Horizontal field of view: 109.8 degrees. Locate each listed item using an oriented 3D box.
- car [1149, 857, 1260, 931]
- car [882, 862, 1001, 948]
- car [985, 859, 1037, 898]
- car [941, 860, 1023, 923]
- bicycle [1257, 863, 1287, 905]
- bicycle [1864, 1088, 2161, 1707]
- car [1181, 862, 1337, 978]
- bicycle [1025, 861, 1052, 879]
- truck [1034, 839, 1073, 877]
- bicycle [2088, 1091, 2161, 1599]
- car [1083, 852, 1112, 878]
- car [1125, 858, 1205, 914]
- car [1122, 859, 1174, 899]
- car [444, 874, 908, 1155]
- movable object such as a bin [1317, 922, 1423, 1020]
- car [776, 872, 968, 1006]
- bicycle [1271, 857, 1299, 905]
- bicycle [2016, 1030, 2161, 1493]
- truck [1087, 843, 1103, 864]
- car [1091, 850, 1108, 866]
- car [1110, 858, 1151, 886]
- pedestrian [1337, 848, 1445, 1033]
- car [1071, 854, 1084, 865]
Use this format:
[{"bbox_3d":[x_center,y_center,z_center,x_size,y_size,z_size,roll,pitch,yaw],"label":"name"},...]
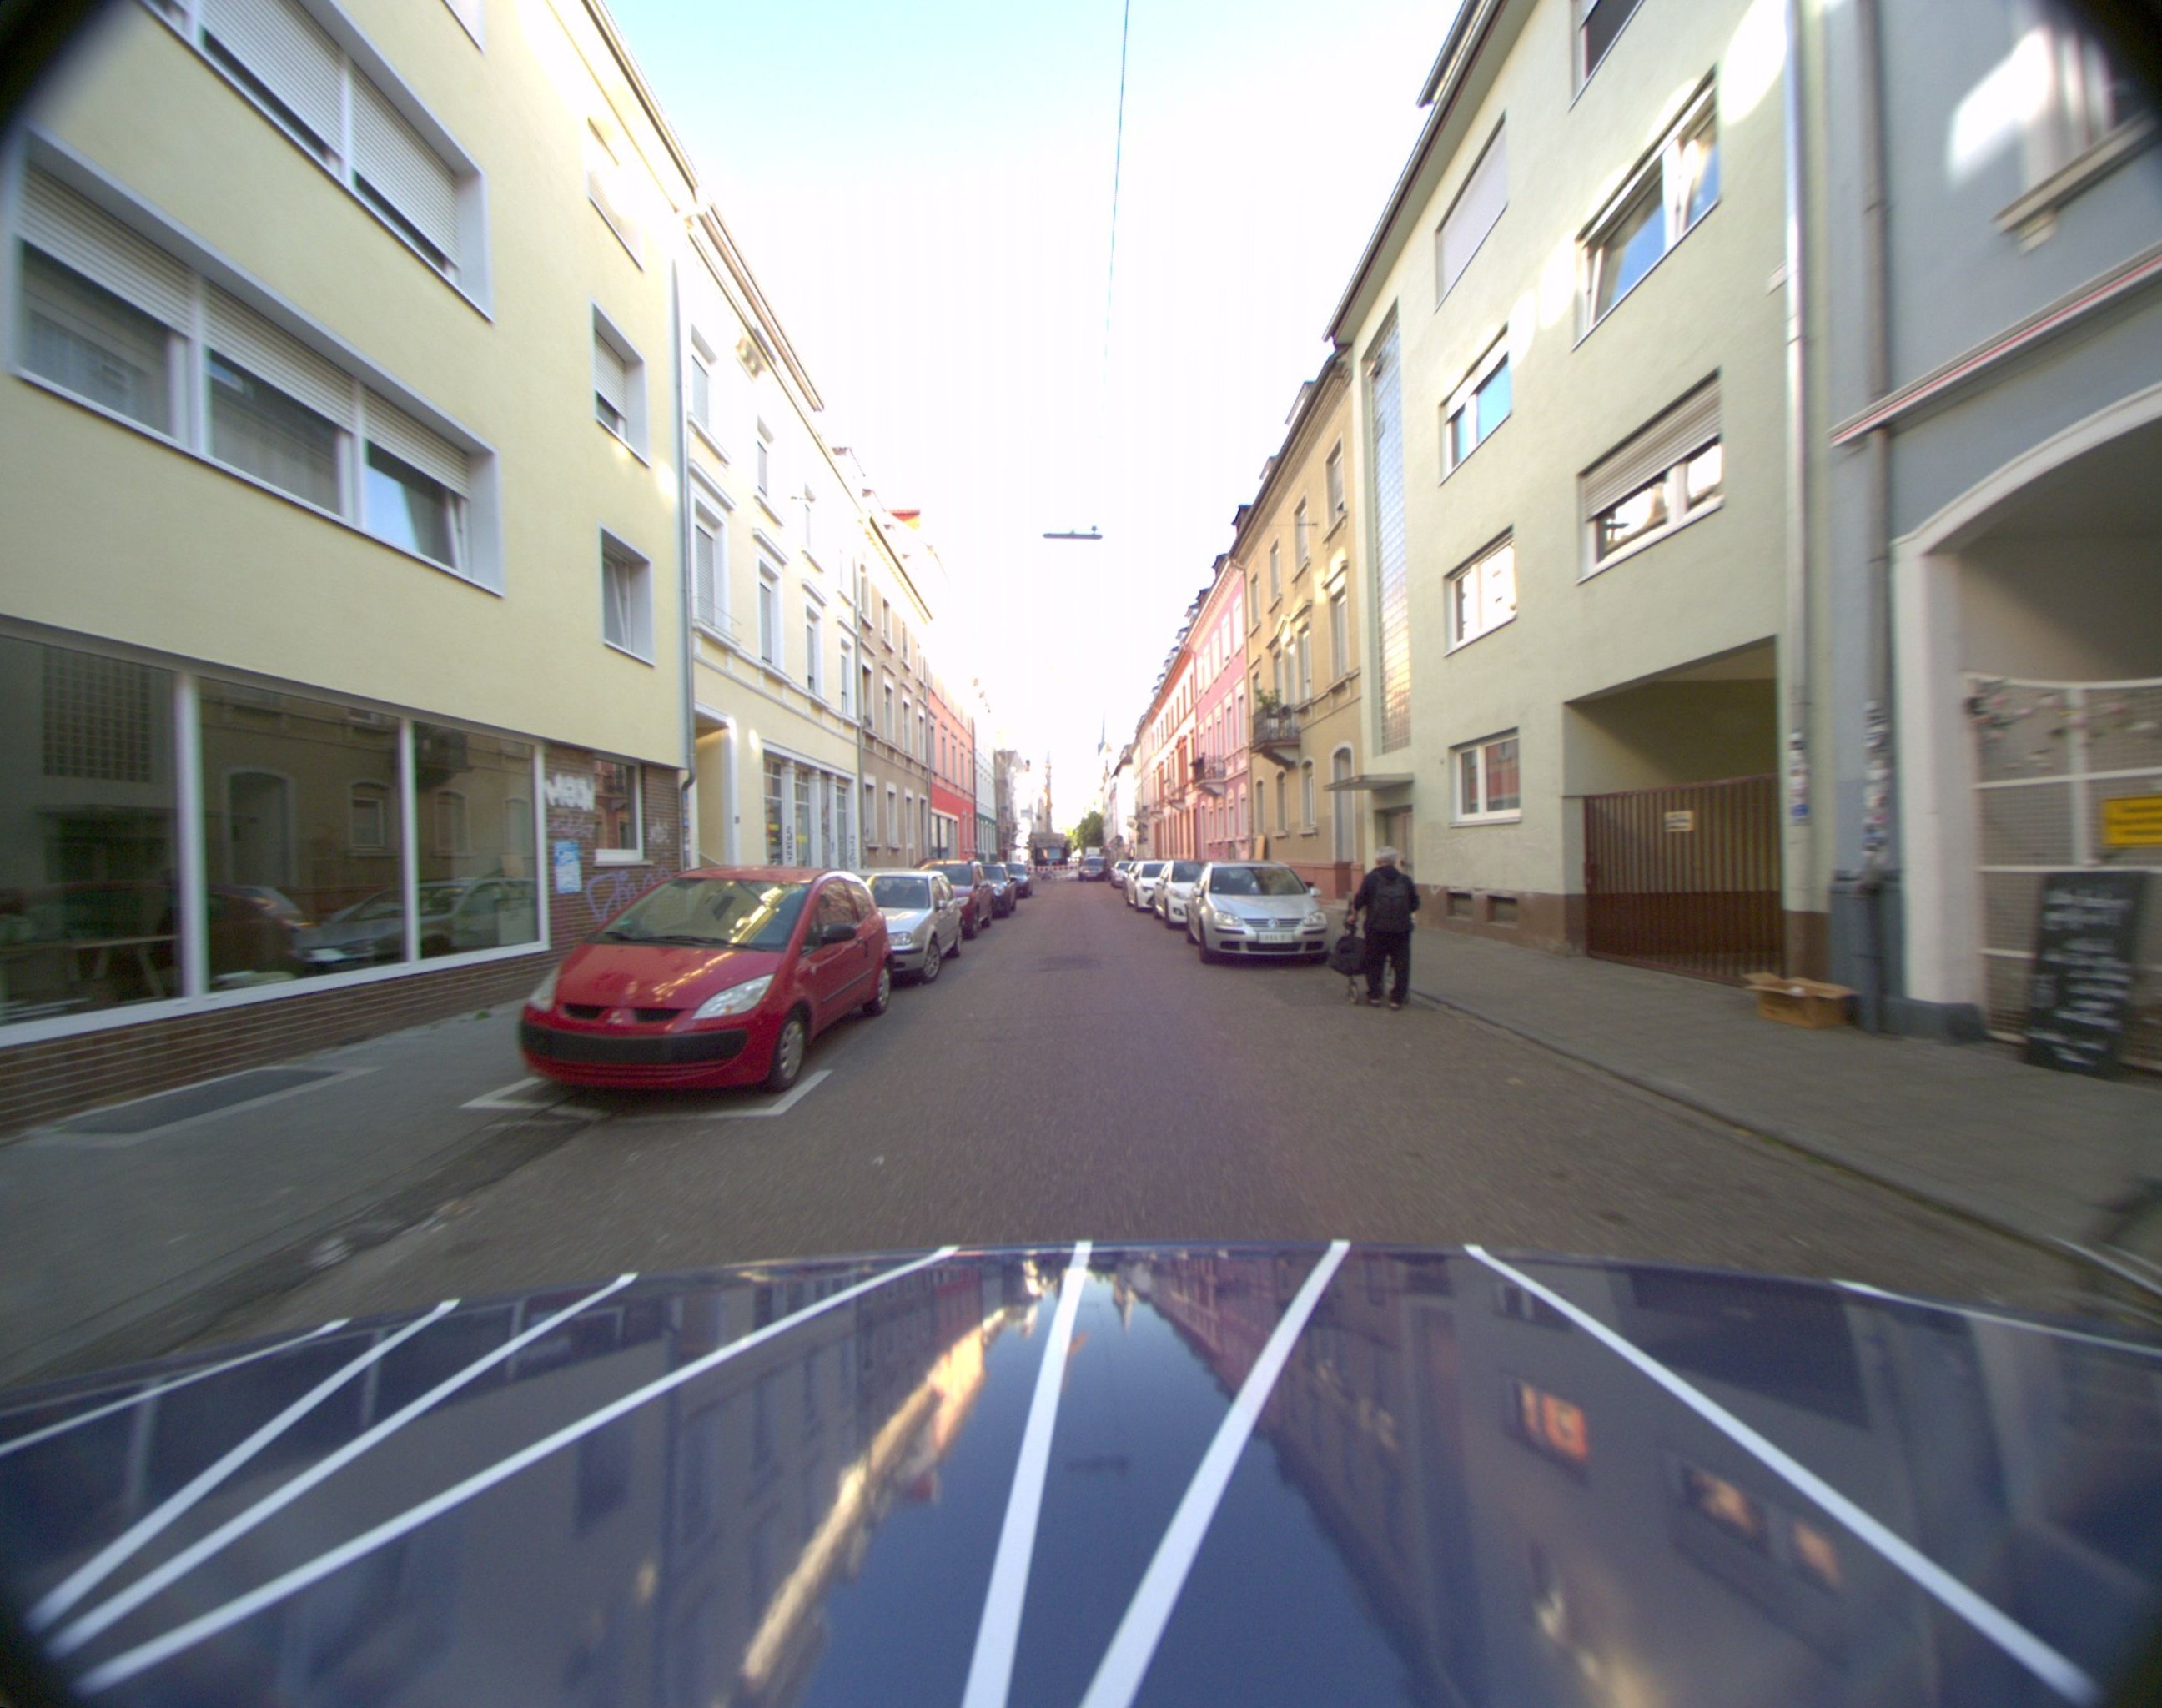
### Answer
[{"bbox_3d":[2.672,0.822,17.304,1.794,1.443,3.999,-1,0,-1],"label":"car"},{"bbox_3d":[-2.854,0.985,16.404,1.794,1.542,4.000,-1,0,0],"label":"car"},{"bbox_3d":[-2.886,0.977,32.163,1.831,1.474,4.464,-1,0,-1],"label":"car"},{"bbox_3d":[-2.745,0.990,21.929,1.766,1.513,4.379,-2,0,-1],"label":"car"},{"bbox_3d":[5.286,0.816,21.099,0.418,1.095,1.494,-2,0,-1],"label":"bicycle"},{"bbox_3d":[2.032,1.085,0.795,0.500,1.099,1.829,-2,0,-1],"label":"bicycle"},{"bbox_3d":[2.559,0.872,11.807,1.684,1.446,4.034,0,0,3],"label":"car"},{"bbox_3d":[-2.854,1.076,50.799,1.713,1.130,0.470,-3,1,-11],"label":"bicycle"},{"bbox_3d":[-2.145,0.321,61.109,2.819,2.735,7.677,-3,0,-1],"label":"truck"},{"bbox_3d":[2.622,1.107,0.832,0.444,1.099,1.931,-2,0,-1],"label":"bicycle"},{"bbox_3d":[1.044,0.701,49.634,1.832,1.650,4.213,0,0,0],"label":"car"},{"bbox_3d":[2.350,0.870,22.313,1.792,1.454,4.199,-1,0,-1],"label":"car"},{"bbox_3d":[2.495,0.919,29.249,1.731,1.382,4.303,0,0,2],"label":"car"},{"bbox_3d":[-2.786,0.976,6.361,1.701,1.514,3.980,0,0,1],"label":"car"},{"bbox_3d":[2.991,1.198,7.915,0.846,0.892,0.585,-3,1,0],"label":"movable object such as a bin"},{"bbox_3d":[-2.724,1.037,10.886,1.693,1.444,4.193,0,0,-2],"label":"car"},{"bbox_3d":[5.671,0.726,21.158,0.319,1.253,1.494,-2,0,-1],"label":"bicycle"},{"bbox_3d":[2.971,1.071,1.273,0.444,1.099,1.874,-2,0,-2],"label":"bicycle"},{"bbox_3d":[2.257,-0.147,122.878,2.524,3.271,6.642,-1,0,1],"label":"truck"},{"bbox_3d":[2.328,0.495,94.692,1.998,2.002,4.258,-1,0,0],"label":"car"},{"bbox_3d":[2.541,0.887,39.623,1.771,1.335,4.380,0,0,-1],"label":"car"},{"bbox_3d":[3.000,0.806,7.414,0.715,1.698,0.672,-3,1,-1],"label":"pedestrian"},{"bbox_3d":[-0.613,0.899,129.291,1.999,1.749,4.255,-3,0,-1],"label":"car"}]
